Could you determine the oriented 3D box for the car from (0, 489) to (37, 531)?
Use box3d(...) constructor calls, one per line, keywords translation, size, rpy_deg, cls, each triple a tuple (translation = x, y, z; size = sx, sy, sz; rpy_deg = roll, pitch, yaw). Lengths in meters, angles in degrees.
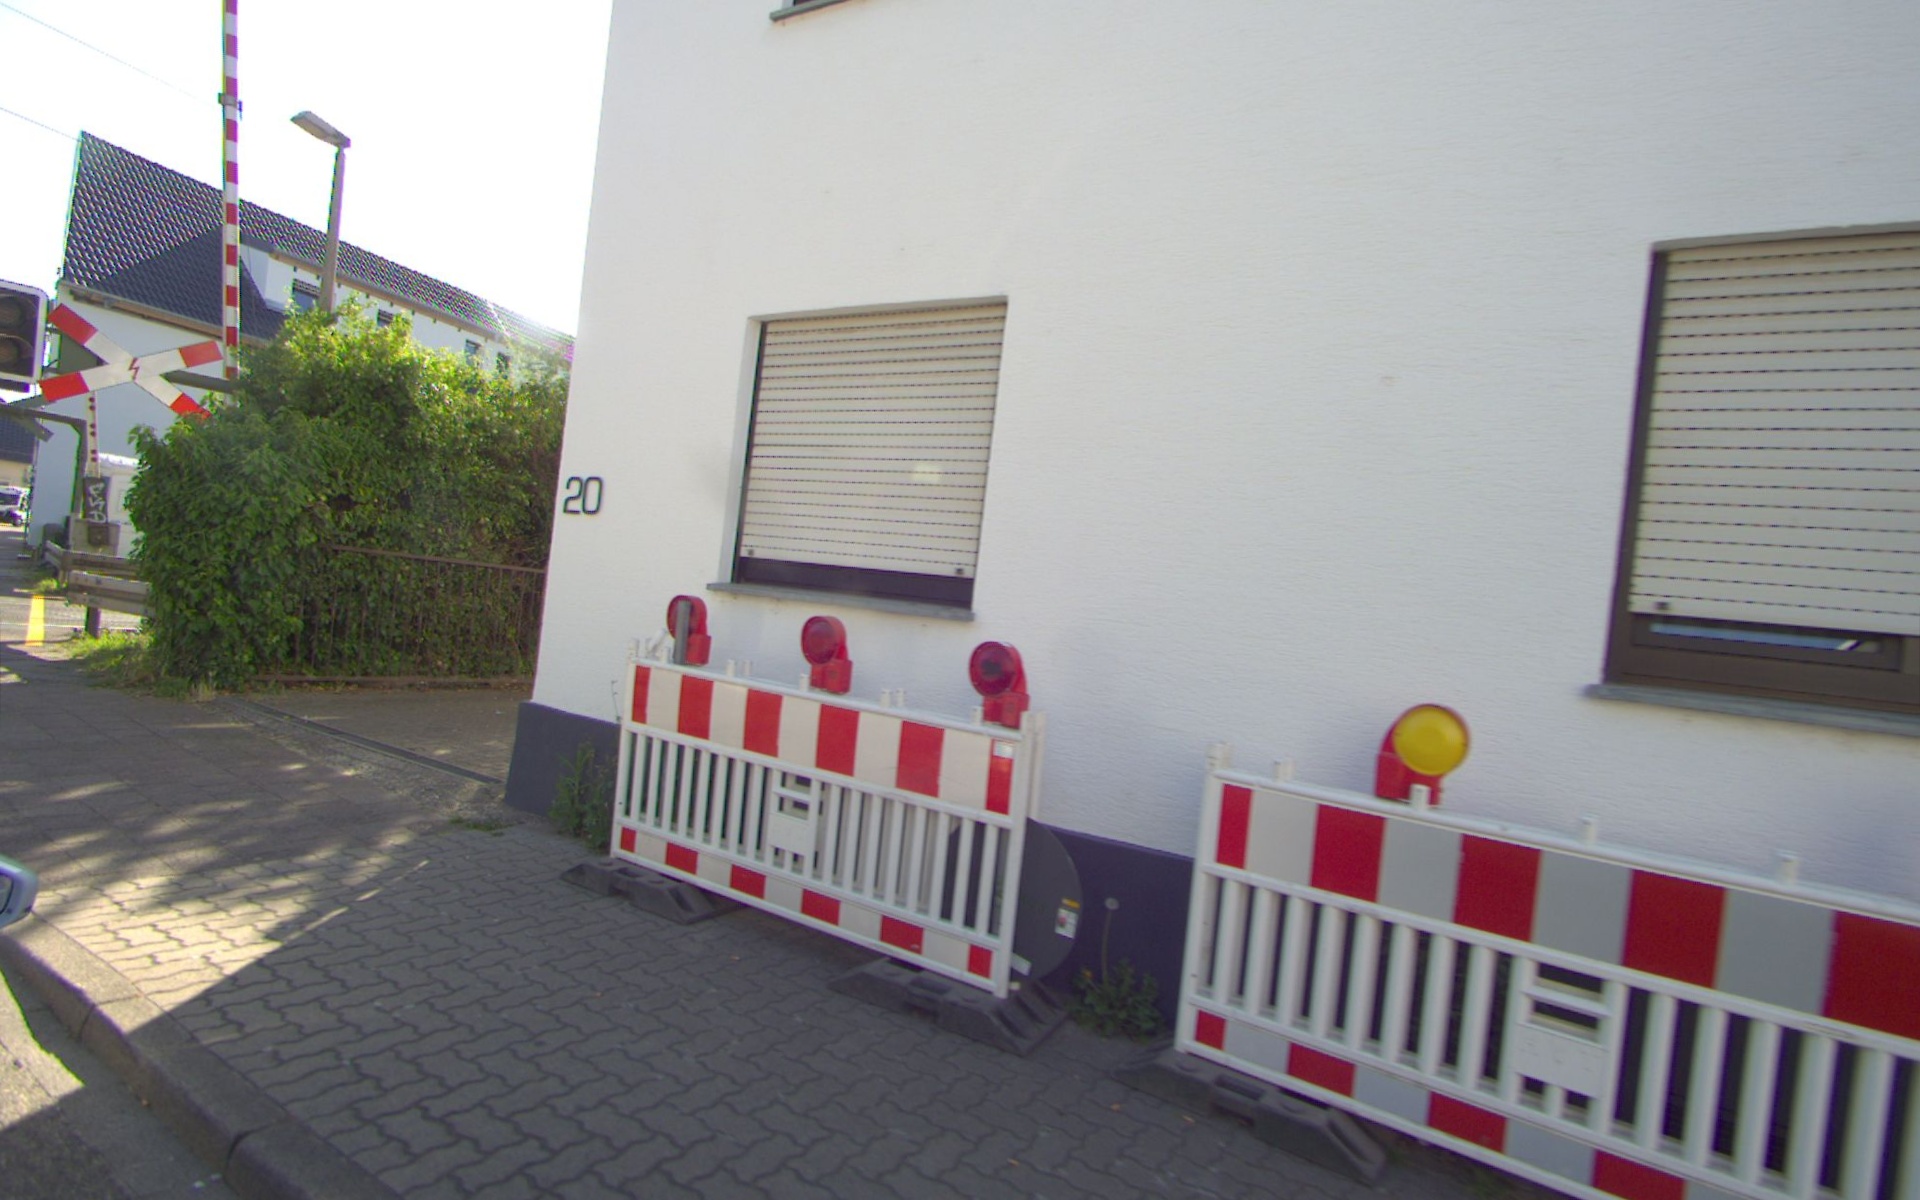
box3d(translation=(-60.299, -5.729, 63.463), size=(2.062, 2.424, 5.163), rpy_deg=(5, 0, -33), cls="car")
